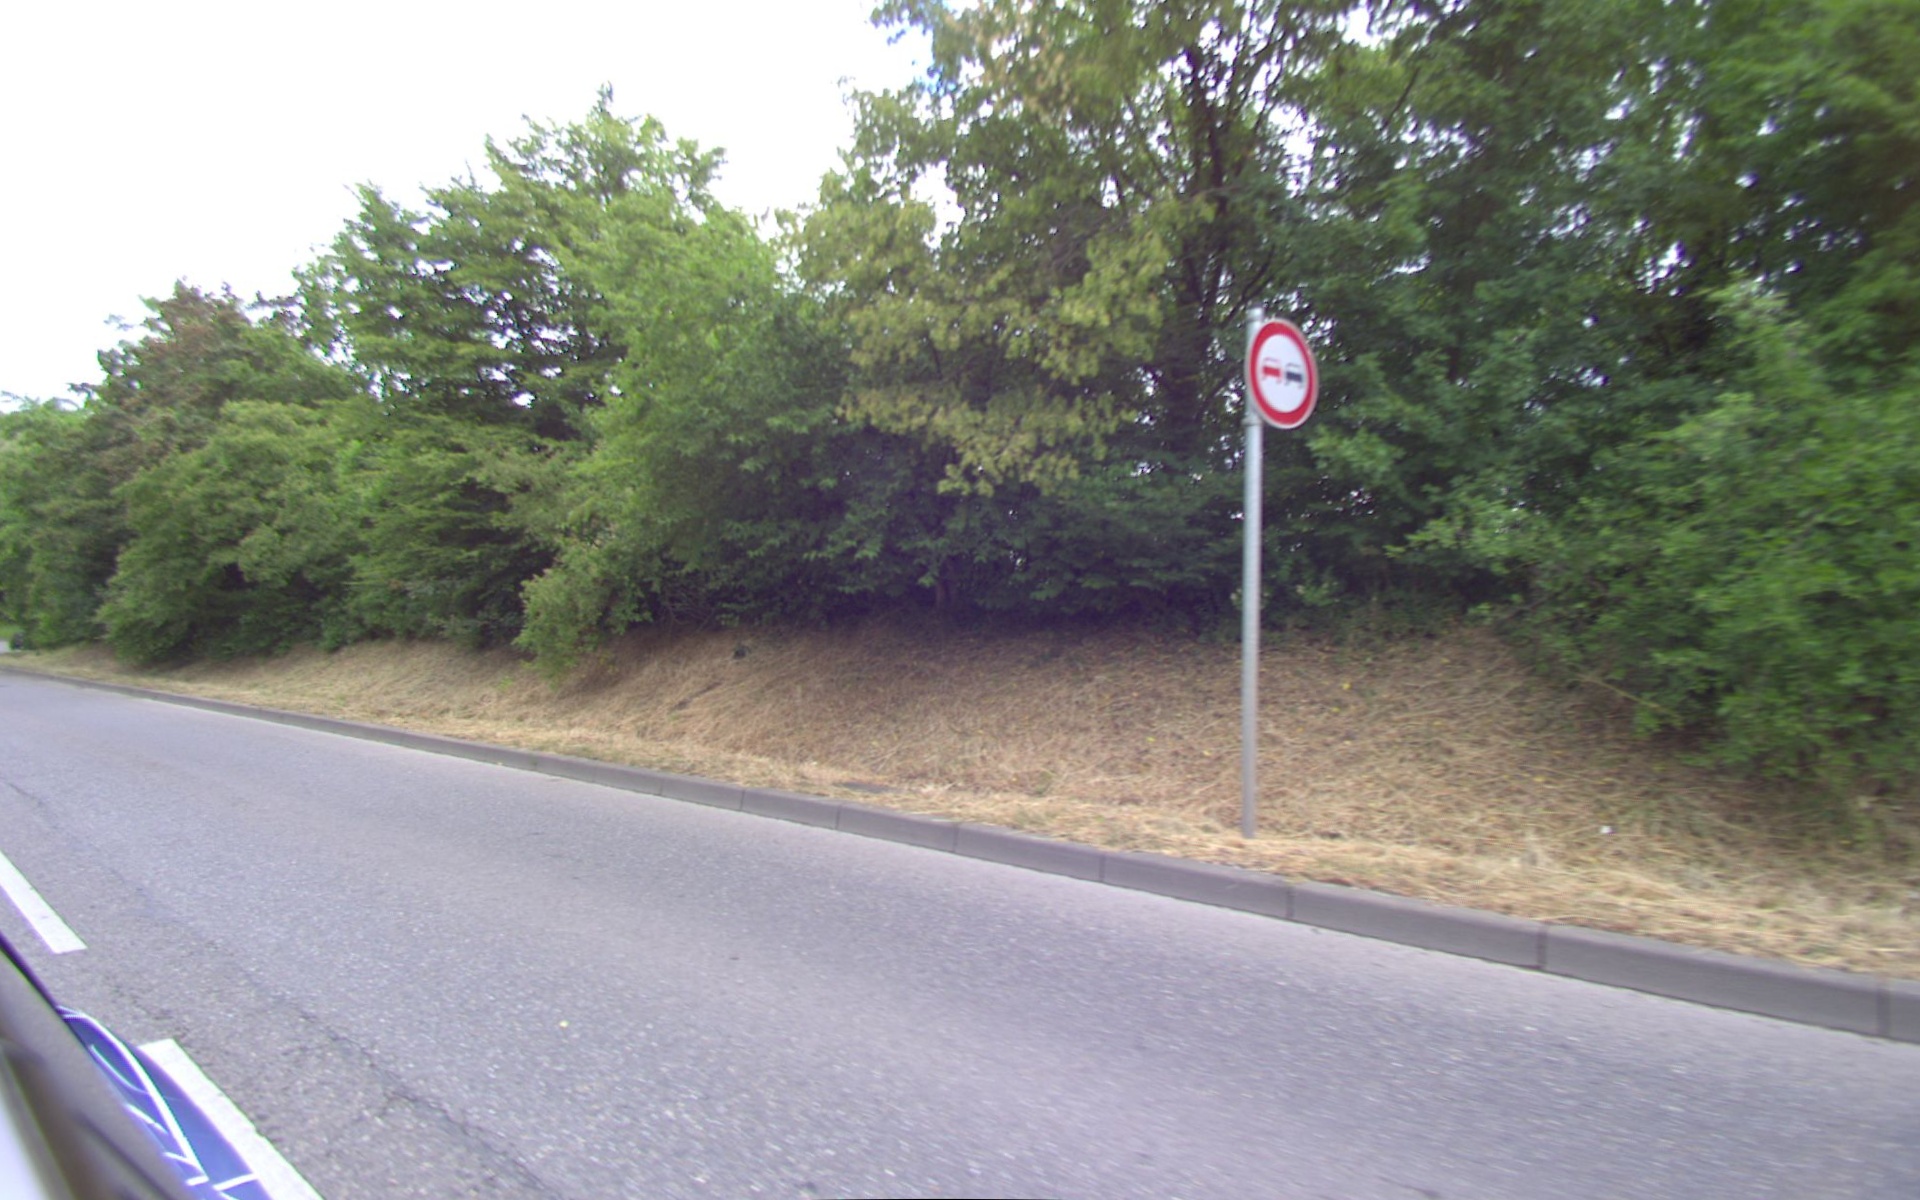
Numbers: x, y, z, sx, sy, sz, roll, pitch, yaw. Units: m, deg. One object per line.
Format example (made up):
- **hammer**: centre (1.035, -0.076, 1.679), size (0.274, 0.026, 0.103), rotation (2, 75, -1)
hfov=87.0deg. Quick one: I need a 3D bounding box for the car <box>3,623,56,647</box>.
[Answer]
- **car**: centre (-59.312, 2.225, 64.584), size (1.806, 1.416, 4.443), rotation (-1, 0, -34)
